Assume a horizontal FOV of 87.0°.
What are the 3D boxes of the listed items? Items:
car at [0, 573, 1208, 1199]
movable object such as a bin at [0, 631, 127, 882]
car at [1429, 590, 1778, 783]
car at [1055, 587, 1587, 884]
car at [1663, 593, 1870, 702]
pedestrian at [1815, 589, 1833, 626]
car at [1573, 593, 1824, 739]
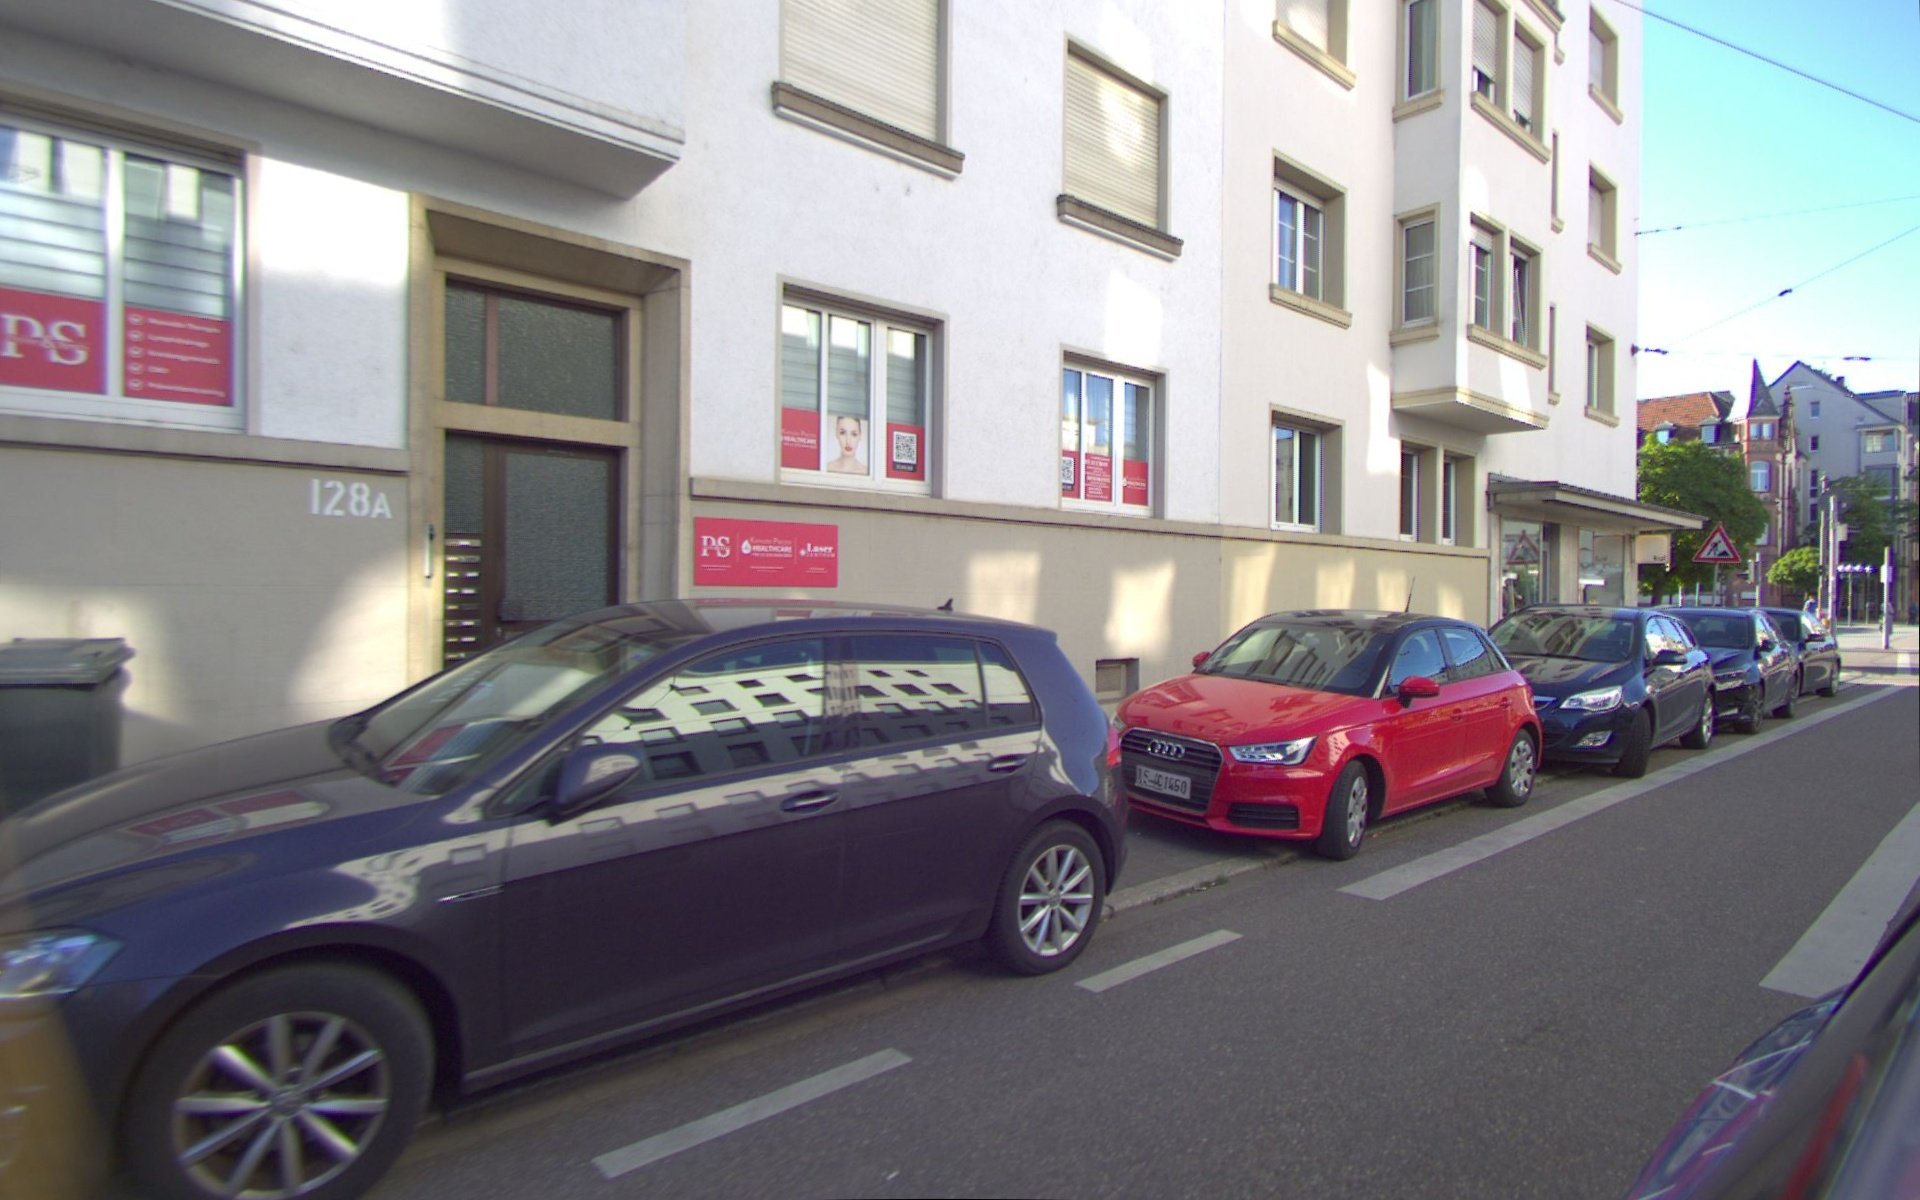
[{"bbox_3d":[-1.102,0.676,3.833,4.280,1.424,1.715,0,3,-40],"label":"car"},{"bbox_3d":[-4.264,0.694,4.734,0.545,1.070,0.559,0,0,-42],"label":"movable object such as a bin"},{"bbox_3d":[6.784,0.719,10.517,4.022,1.525,1.862,0,3,-40],"label":"car"},{"bbox_3d":[2.755,0.710,7.361,3.917,1.490,1.862,0,3,-40],"label":"car"},{"bbox_3d":[13.823,0.693,17.229,4.831,1.525,1.753,0,3,-40],"label":"car"},{"bbox_3d":[47.007,0.388,55.039,0.645,1.980,0.577,1,0,33],"label":"pedestrian"},{"bbox_3d":[9.931,0.722,13.465,4.431,1.525,1.860,0,4,-43],"label":"car"}]
